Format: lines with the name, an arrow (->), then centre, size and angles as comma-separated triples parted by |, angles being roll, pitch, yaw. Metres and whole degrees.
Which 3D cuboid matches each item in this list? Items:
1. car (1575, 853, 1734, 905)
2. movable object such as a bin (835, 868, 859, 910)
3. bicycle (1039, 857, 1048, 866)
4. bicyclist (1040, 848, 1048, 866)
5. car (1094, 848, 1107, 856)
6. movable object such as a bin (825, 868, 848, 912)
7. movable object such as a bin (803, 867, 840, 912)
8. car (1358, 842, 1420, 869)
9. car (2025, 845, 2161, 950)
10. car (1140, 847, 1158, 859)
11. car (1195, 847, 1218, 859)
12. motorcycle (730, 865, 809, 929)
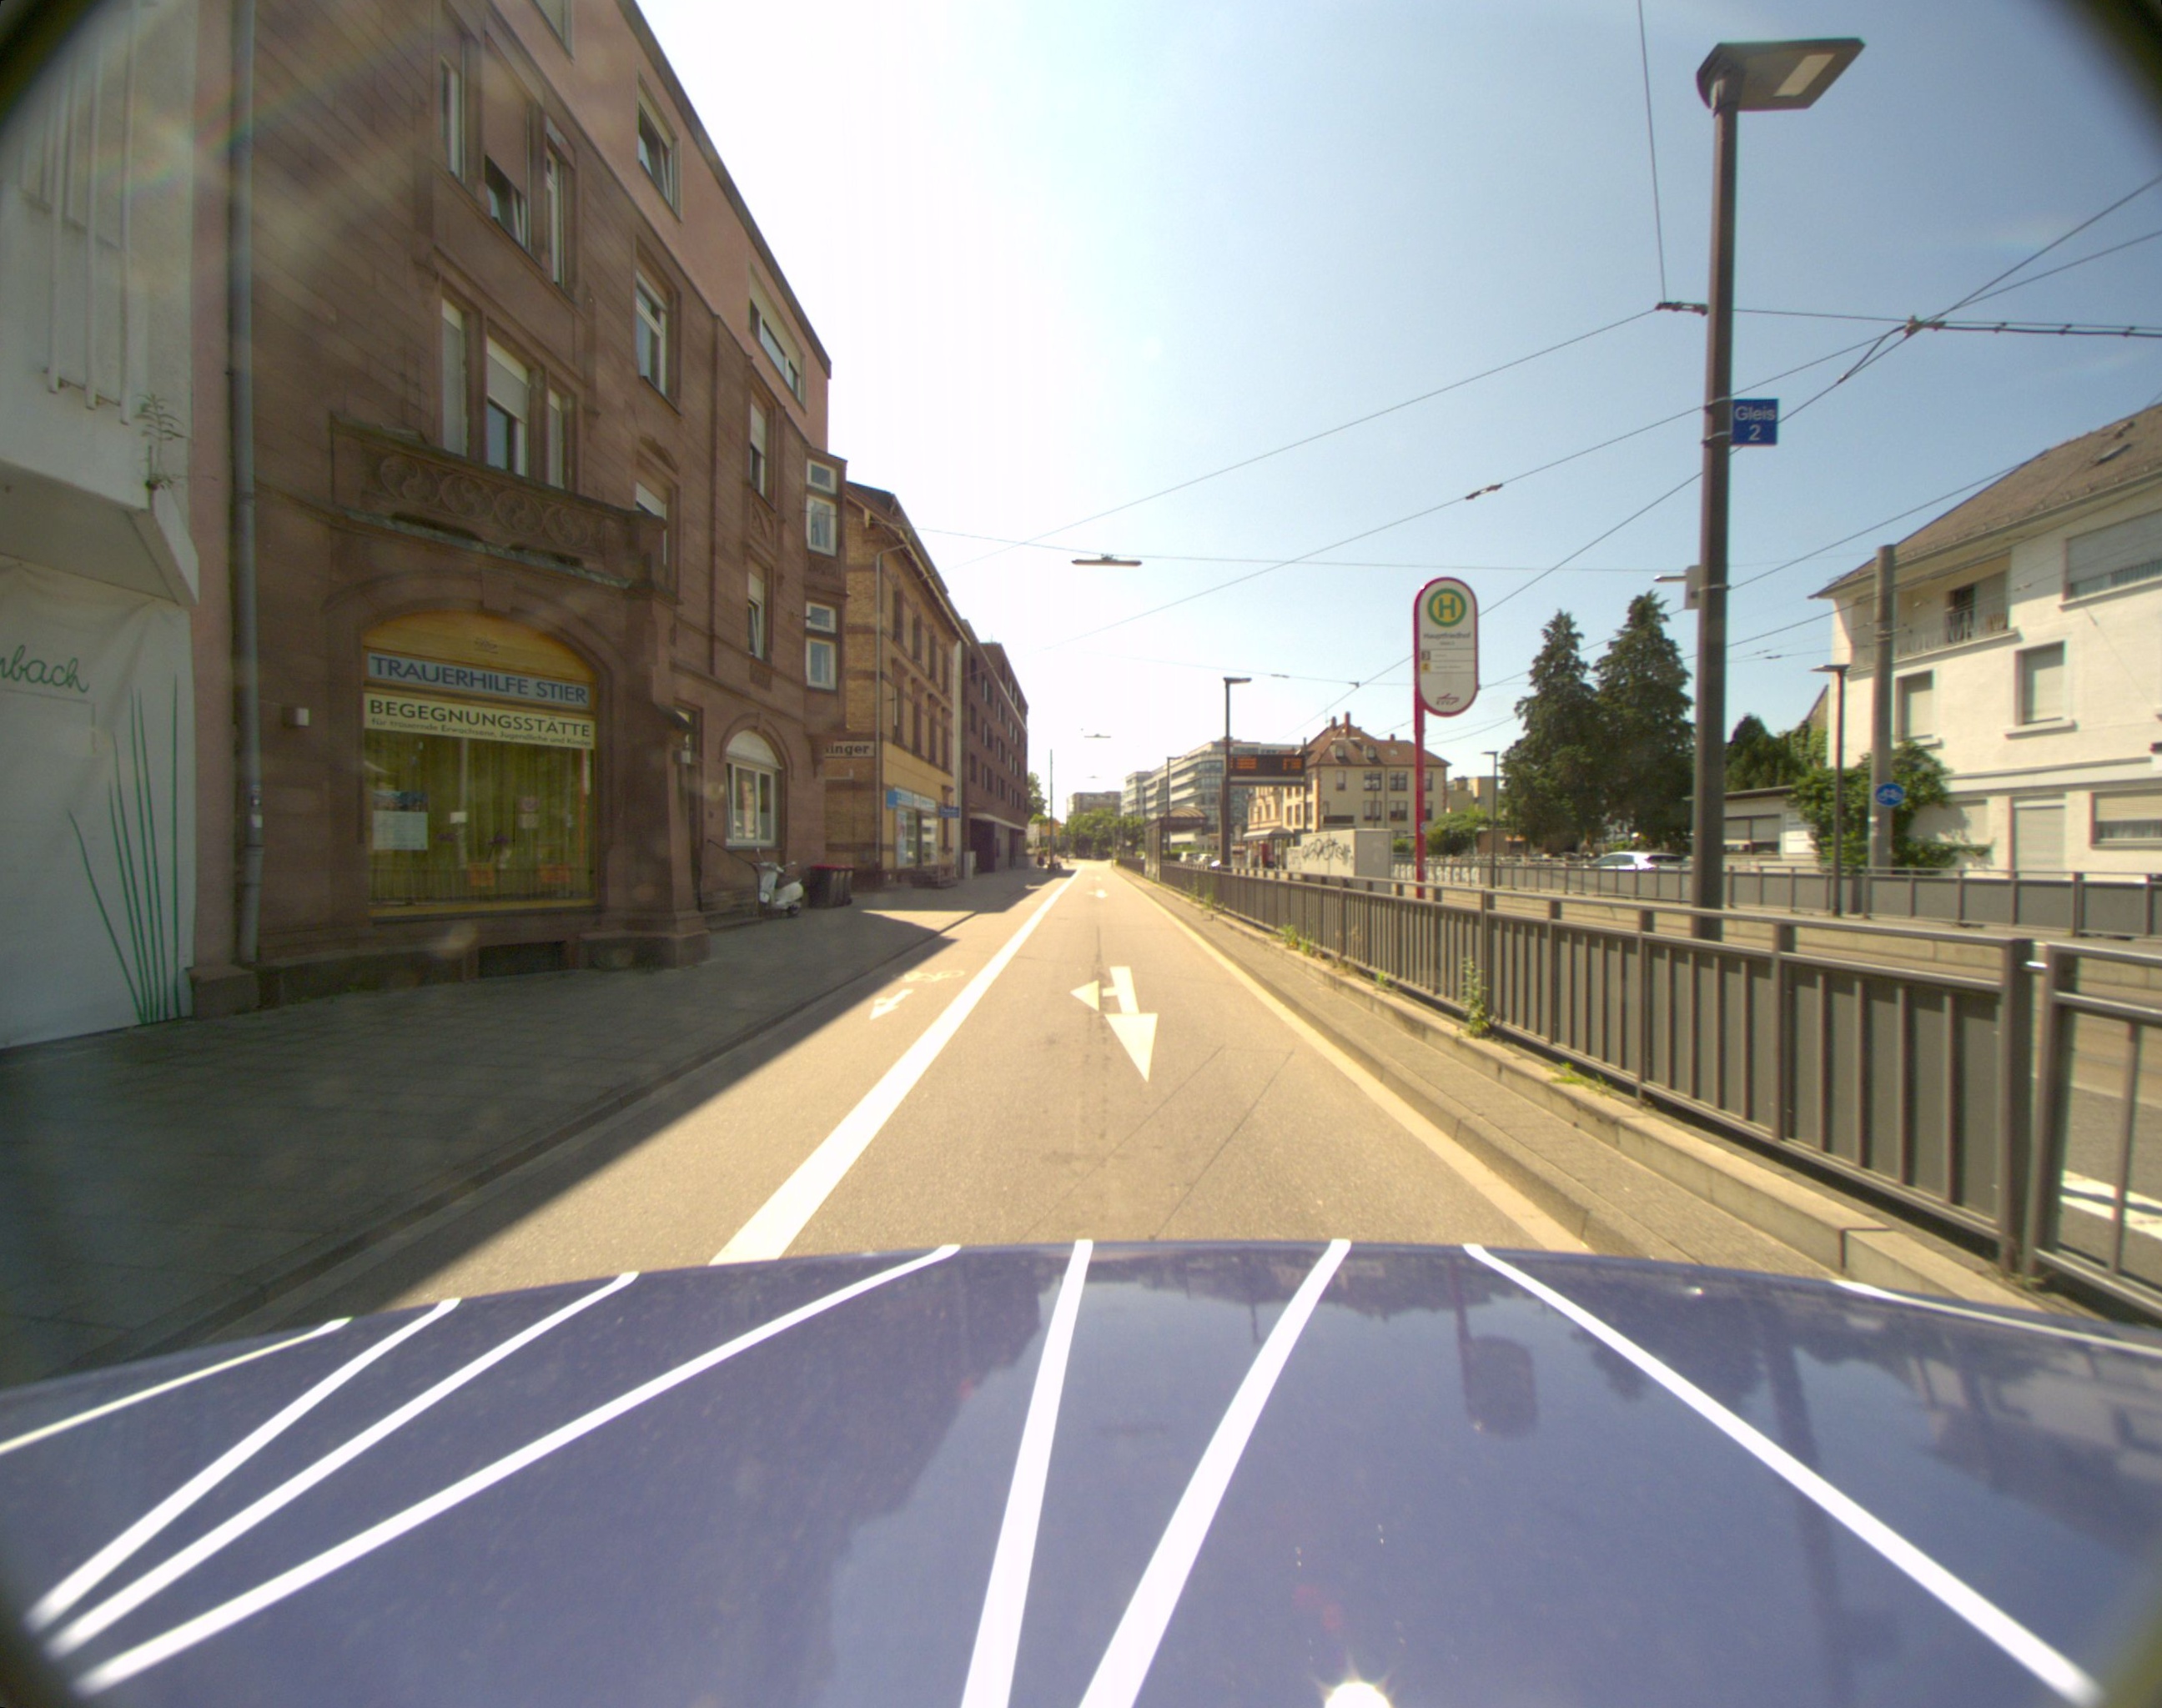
car -> 17.170, 0.699, 23.046 | 1.822, 1.355, 4.051 | 2, 1, 2
movable object such as a bin -> -6.028, 0.886, 19.599 | 0.376, 1.042, 0.657 | 2, 1, 1
bicycle -> -3.568, 0.710, 72.663 | 0.689, 0.793, 1.908 | 0, 0, 3
bicyclist -> -3.564, 0.249, 72.834 | 0.671, 1.712, 0.928 | 0, 1, 4
car -> 4.304, -0.442, 167.248 | 2.000, 1.827, 3.995 | 0, 1, -11
movable object such as a bin -> -6.094, 0.884, 18.951 | 0.376, 1.042, 0.559 | 2, 1, 1
movable object such as a bin -> -6.267, 0.845, 18.372 | 0.649, 1.042, 0.559 | 2, 1, 1
car -> 17.419, 0.062, 43.227 | 1.861, 1.433, 4.478 | 0, 0, 2
car -> 16.172, 0.644, 10.005 | 1.822, 1.481, 4.498 | 1, 1, -1
car -> 11.129, -0.157, 123.891 | 1.862, 1.806, 4.694 | 0, 0, -8
car -> 15.684, -0.121, 95.236 | 1.823, 1.459, 4.621 | 0, 0, -5
motorcycle -> -6.146, 0.819, 15.086 | 0.527, 1.142, 1.881 | 0, 1, 10
